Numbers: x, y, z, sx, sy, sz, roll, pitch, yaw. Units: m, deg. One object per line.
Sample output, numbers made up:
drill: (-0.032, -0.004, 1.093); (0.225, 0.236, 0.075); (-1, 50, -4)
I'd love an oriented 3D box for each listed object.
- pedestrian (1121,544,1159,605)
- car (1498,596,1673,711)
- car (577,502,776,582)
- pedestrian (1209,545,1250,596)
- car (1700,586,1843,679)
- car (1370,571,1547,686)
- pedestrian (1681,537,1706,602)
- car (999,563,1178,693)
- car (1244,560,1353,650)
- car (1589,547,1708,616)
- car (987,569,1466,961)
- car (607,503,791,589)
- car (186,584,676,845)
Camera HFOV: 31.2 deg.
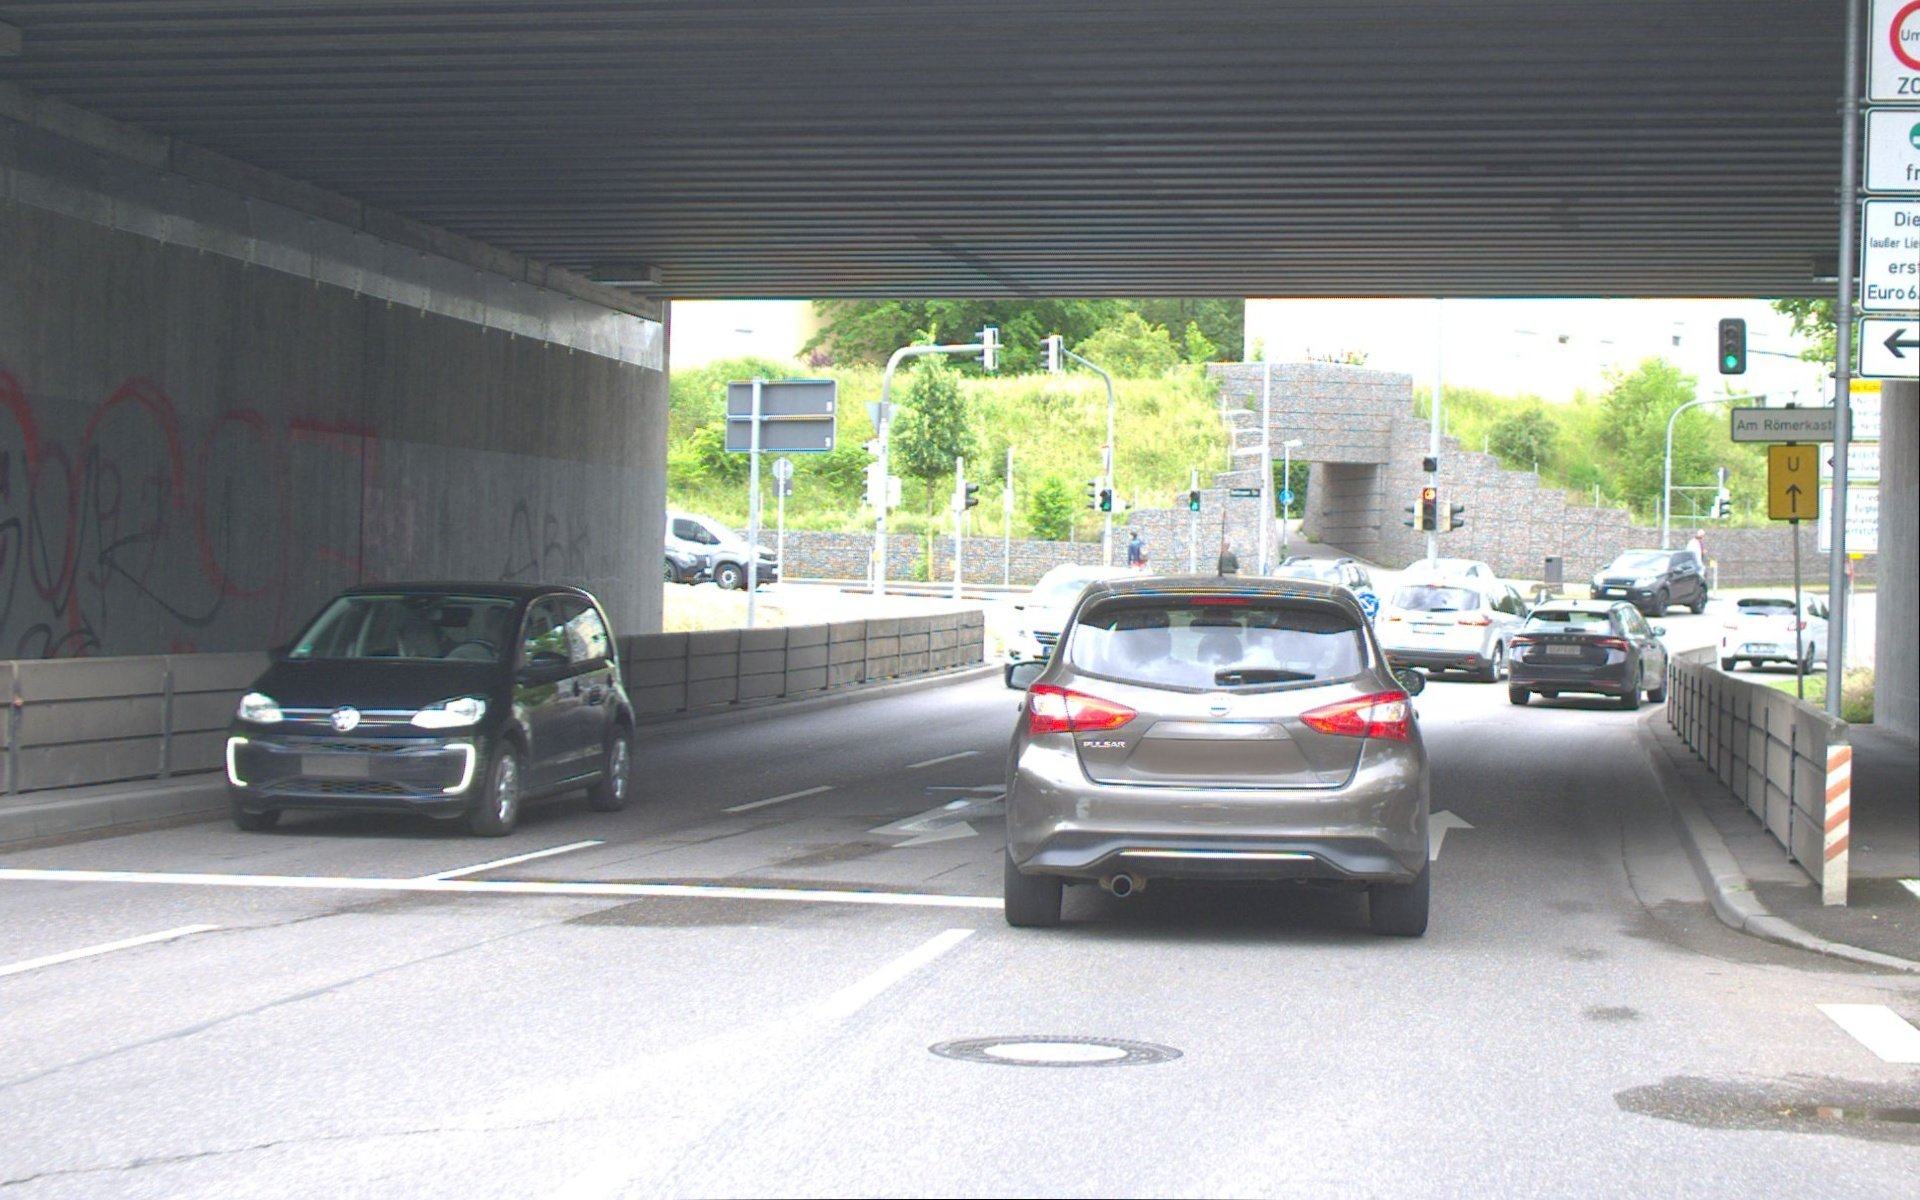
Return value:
pedestrian: (4.868, -0.700, 93.252); (0.952, 1.607, 0.700); (2, 1, 1)
car: (8.735, 0.707, 47.808); (1.901, 1.461, 3.997); (1, 1, 17)
car: (-6.340, -1.294, 77.099); (3.990, 1.590, 1.871); (3, 1, 15)
pedestrian: (6.838, -0.756, 87.339); (0.910, 1.219, 0.729); (5, 2, 2)
car: (15.084, 0.575, 63.769); (1.996, 1.612, 3.996); (2, 1, 21)
car: (8.042, 0.435, 55.205); (1.832, 1.700, 3.864); (3, 1, 22)
pedestrian: (21.439, -0.897, 100.468); (0.604, 1.856, 0.597); (2, 1, 15)
car: (1.808, 0.369, 47.139); (1.784, 1.654, 4.106); (2, 0, 11)
car: (6.699, 0.072, 67.771); (1.687, 1.702, 3.787); (1, 1, 12)
car: (17.770, -0.477, 88.599); (1.996, 1.692, 4.162); (2, 1, 25)
car: (1.105, 0.643, 15.592); (1.845, 1.488, 4.000); (2, 0, 2)
car: (-6.219, -1.291, 82.185); (3.988, 1.941, 1.999); (2, 1, 9)
car: (-3.109, 0.639, 21.042); (1.724, 1.405, 3.998); (1, 0, 10)
